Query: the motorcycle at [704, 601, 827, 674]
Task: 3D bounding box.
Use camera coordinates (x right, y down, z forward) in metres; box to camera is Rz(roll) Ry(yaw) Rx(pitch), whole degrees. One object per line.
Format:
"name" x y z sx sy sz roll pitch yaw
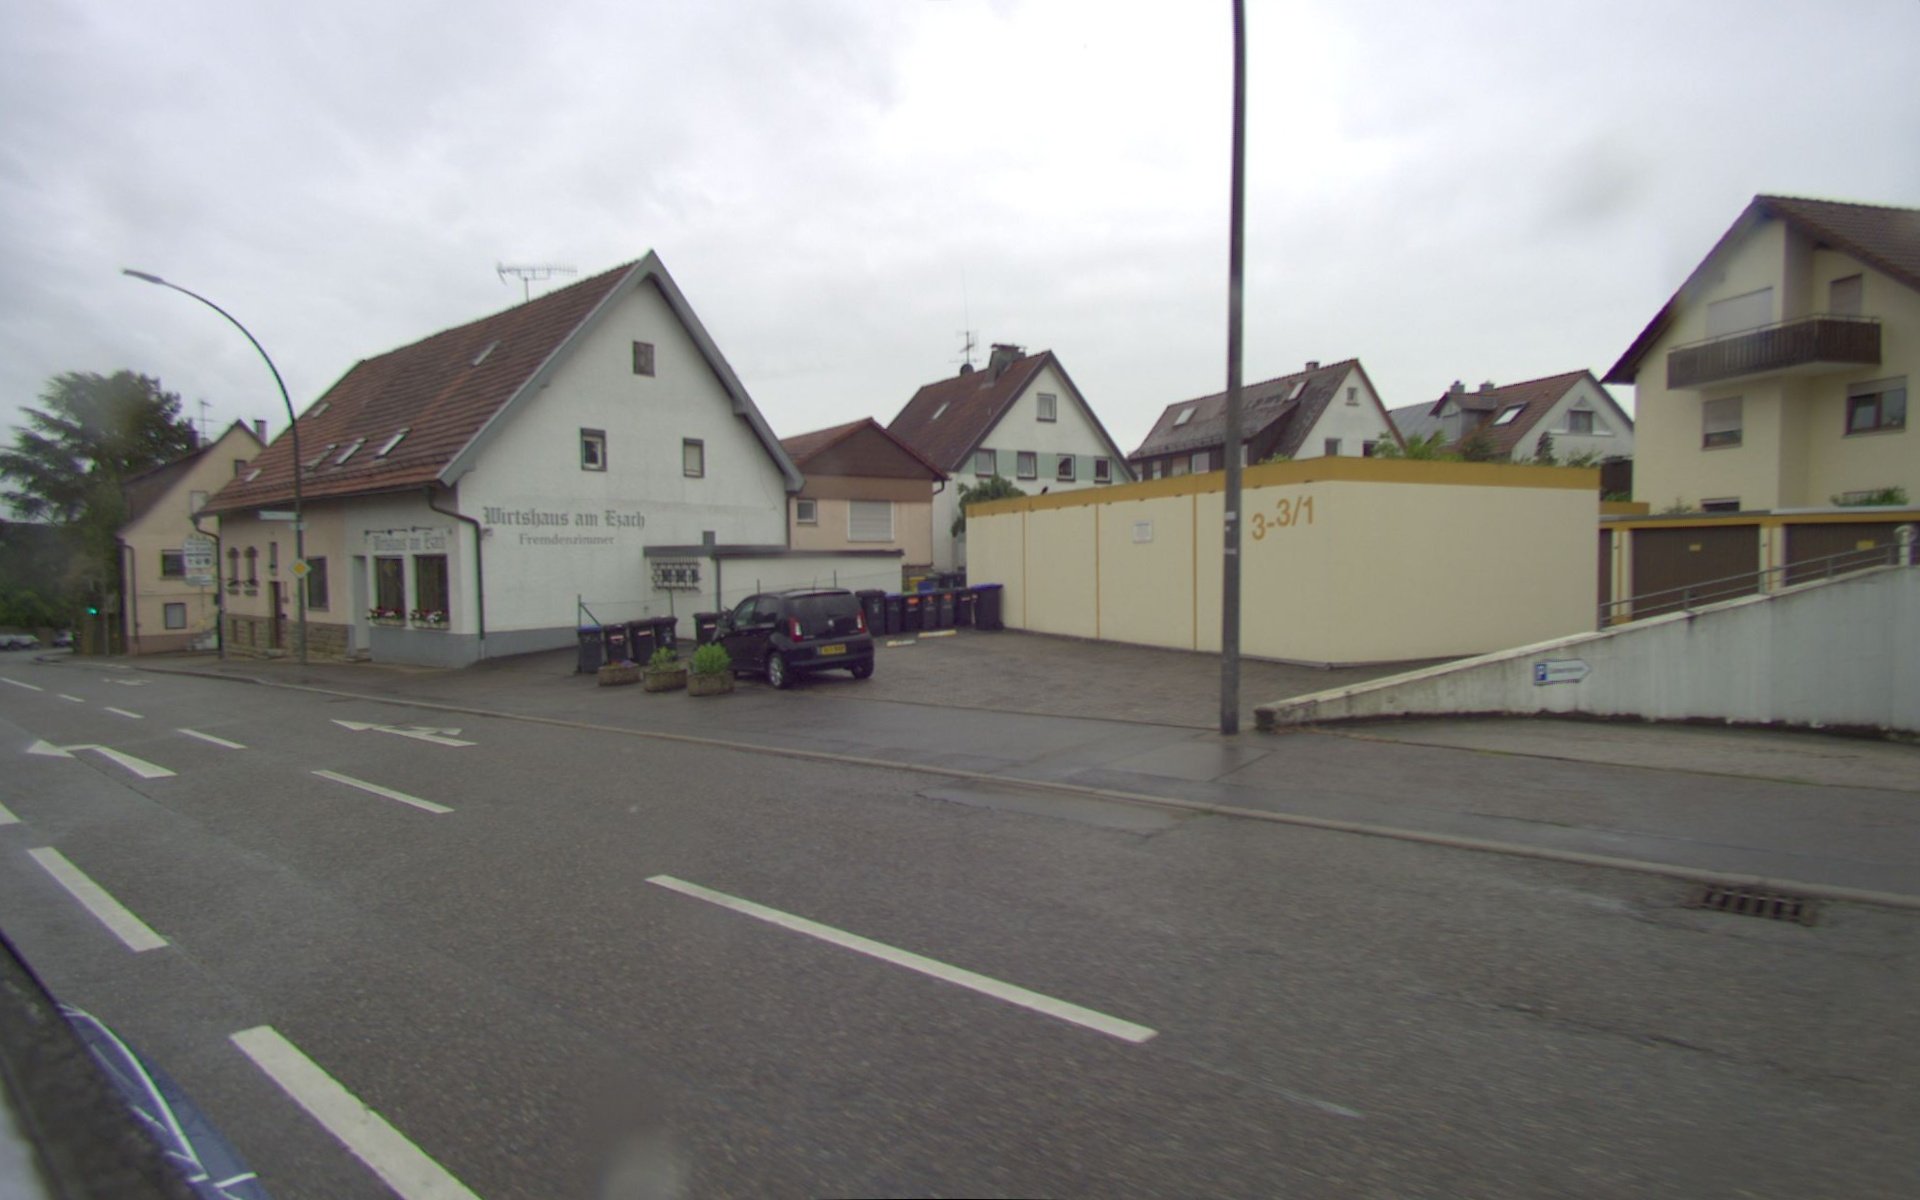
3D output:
"motorcycle" -3.687 0.676 19.246 2.082 1.122 0.782 -6 4 -33

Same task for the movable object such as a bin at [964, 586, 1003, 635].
"movable object such as a bin" 0.538 0.241 23.226 0.660 1.087 0.626 -1 -1 -27

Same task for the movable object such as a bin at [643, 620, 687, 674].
"movable object such as a bin" -6.060 0.954 20.787 0.629 1.040 0.606 -5 1 -36

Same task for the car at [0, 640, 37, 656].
"car" -86.719 4.388 93.156 1.735 1.430 4.165 0 -2 -31

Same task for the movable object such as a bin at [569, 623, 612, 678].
"movable object such as a bin" -7.318 0.984 20.030 0.629 1.040 0.675 0 -1 -36

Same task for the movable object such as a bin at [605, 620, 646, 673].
"movable object such as a bin" -6.721 0.924 20.350 0.629 1.040 0.606 0 -1 -36

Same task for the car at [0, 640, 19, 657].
"car" -84.103 4.249 88.491 1.735 1.430 4.166 0 -2 -29

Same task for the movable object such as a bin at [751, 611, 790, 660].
"movable object such as a bin" -4.138 0.759 22.045 0.629 1.040 0.606 0 -1 -36

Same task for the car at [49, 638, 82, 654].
"car" -93.192 4.776 105.454 1.803 1.642 4.166 0 -2 -30

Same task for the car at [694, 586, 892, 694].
"car" -2.879 0.609 16.735 1.875 1.452 3.839 -4 1 -31

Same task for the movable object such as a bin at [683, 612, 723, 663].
"movable object such as a bin" -5.384 0.773 21.200 0.629 1.040 0.606 0 -1 -36

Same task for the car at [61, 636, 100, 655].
"car" -83.515 4.288 96.103 1.966 1.719 4.012 -1 -1 -29

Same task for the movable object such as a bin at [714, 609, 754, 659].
"movable object such as a bin" -4.817 0.711 21.593 0.629 1.040 0.606 0 -1 -36

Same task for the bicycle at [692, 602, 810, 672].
"bicycle" -4.081 0.703 19.844 2.070 1.122 0.739 -6 4 -33

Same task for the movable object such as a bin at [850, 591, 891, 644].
"movable object such as a bin" -2.068 0.412 23.370 0.630 1.138 0.606 -8 3 -36
